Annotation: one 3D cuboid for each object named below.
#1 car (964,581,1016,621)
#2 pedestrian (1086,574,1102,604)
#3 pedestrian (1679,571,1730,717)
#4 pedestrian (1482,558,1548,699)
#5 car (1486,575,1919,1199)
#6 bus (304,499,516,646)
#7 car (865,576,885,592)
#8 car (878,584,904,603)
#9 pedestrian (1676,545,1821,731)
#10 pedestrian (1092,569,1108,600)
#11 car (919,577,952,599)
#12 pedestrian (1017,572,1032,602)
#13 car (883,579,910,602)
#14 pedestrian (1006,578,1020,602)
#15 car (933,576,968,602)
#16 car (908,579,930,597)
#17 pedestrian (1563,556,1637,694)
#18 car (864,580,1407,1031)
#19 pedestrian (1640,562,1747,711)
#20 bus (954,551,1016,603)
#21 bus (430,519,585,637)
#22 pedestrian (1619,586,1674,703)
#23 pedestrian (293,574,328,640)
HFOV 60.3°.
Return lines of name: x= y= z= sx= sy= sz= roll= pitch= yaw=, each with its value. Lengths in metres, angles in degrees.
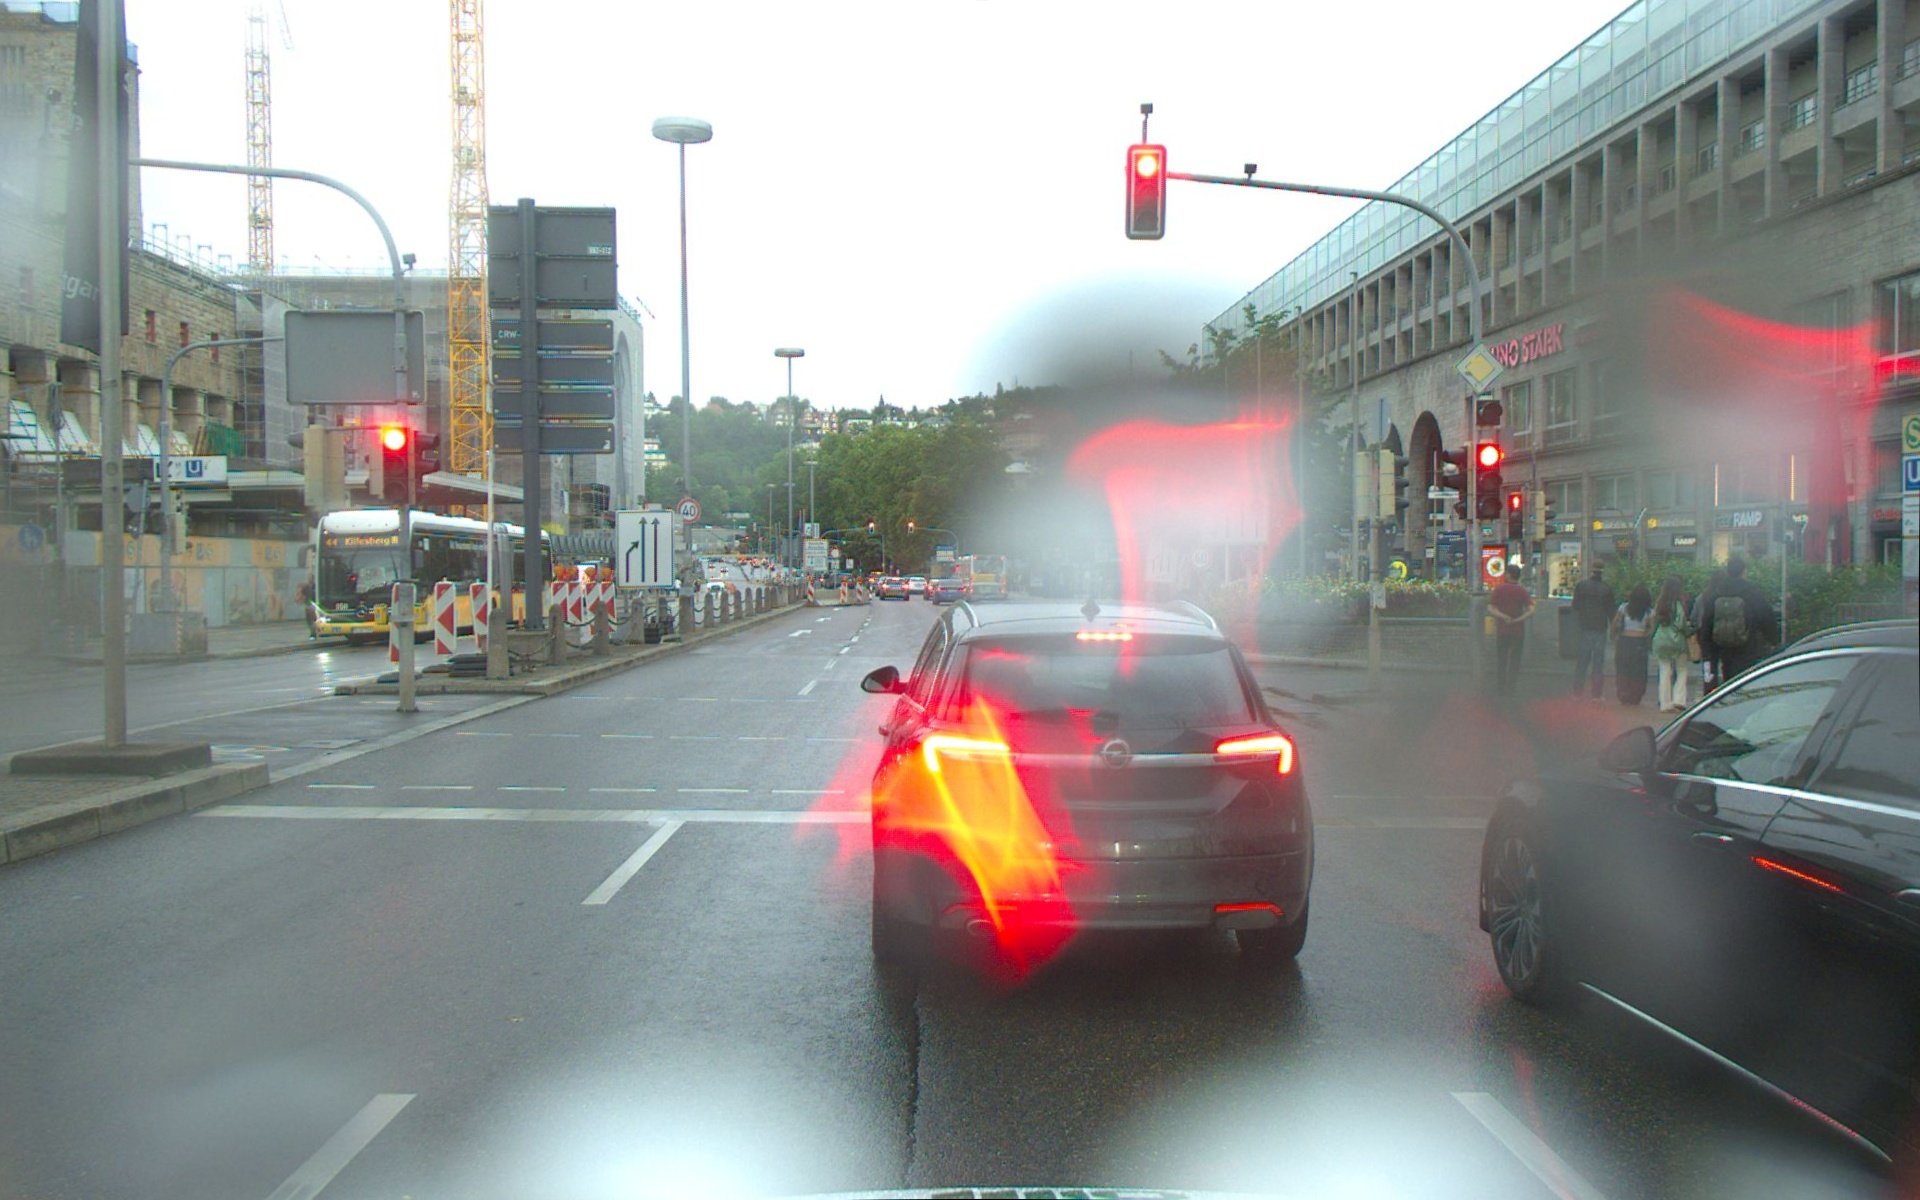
car: x=1.102 y=0.027 z=62.449 sx=1.808 sy=1.422 sz=3.666 roll=1 pitch=0 yaw=-1
pedestrian: x=7.724 y=-0.639 z=95.556 sx=0.748 sy=1.720 sz=0.824 roll=1 pitch=0 yaw=-5
pedestrian: x=9.282 y=0.542 z=20.640 sx=0.471 sy=1.782 sz=0.666 roll=-2 pitch=0 yaw=19
pedestrian: x=7.148 y=0.356 z=21.301 sx=0.560 sy=1.783 sz=0.676 roll=1 pitch=0 yaw=42
car: x=3.039 y=0.725 z=4.379 sx=1.757 sy=1.528 sz=4.628 roll=1 pitch=0 yaw=-1
bus: x=-15.199 y=-0.688 z=46.710 sx=2.614 sy=3.665 sz=10.237 roll=1 pitch=0 yaw=-1
car: x=-7.695 y=-1.457 z=149.863 sx=1.723 sy=1.422 sz=3.563 roll=1 pitch=0 yaw=-1
car: x=-5.166 y=-0.477 z=123.622 sx=1.808 sy=1.422 sz=3.563 roll=1 pitch=0 yaw=-1
pedestrian: x=7.873 y=0.371 z=16.536 sx=1.074 sy=1.782 sz=0.653 roll=-2 pitch=0 yaw=-4
pedestrian: x=8.001 y=-0.873 z=94.351 sx=0.748 sy=1.720 sz=0.824 roll=1 pitch=0 yaw=-5
car: x=-1.673 y=-0.767 z=110.980 sx=1.720 sy=1.422 sz=4.394 roll=1 pitch=0 yaw=-8
pedestrian: x=5.258 y=-1.046 z=135.532 sx=1.174 sy=2.478 sz=1.228 roll=1 pitch=0 yaw=0
car: x=-4.086 y=-0.611 z=106.822 sx=1.718 sy=1.422 sz=4.536 roll=1 pitch=0 yaw=-2
pedestrian: x=4.766 y=-0.894 z=149.341 sx=1.174 sy=2.186 sz=1.228 roll=1 pitch=0 yaw=0
car: x=-0.540 y=-0.622 z=93.443 sx=1.718 sy=1.422 sz=4.645 roll=1 pitch=0 yaw=-3
car: x=-3.486 y=-1.025 z=140.256 sx=1.808 sy=1.422 sz=3.563 roll=1 pitch=0 yaw=-1
pedestrian: x=8.247 y=0.316 z=21.323 sx=0.740 sy=1.747 sz=0.466 roll=1 pitch=0 yaw=-5
car: x=0.562 y=0.707 z=7.650 sx=1.837 sy=1.512 sz=3.999 roll=1 pitch=0 yaw=-1
pedestrian: x=8.439 y=0.411 z=19.054 sx=0.778 sy=1.654 sz=0.899 roll=1 pitch=0 yaw=-4
bus: x=1.690 y=-1.569 z=120.932 sx=4.089 sy=3.529 sz=14.651 roll=1 pitch=0 yaw=-1
bus: x=-15.359 y=-0.679 z=56.996 sx=2.614 sy=3.665 sz=10.209 roll=1 pitch=0 yaw=-1
pedestrian: x=8.683 y=0.551 z=20.928 sx=0.617 sy=1.452 sz=0.490 roll=1 pitch=0 yaw=21
pedestrian: x=-17.219 y=0.190 z=43.866 sx=0.646 sy=1.710 sz=0.644 roll=1 pitch=0 yaw=-1
